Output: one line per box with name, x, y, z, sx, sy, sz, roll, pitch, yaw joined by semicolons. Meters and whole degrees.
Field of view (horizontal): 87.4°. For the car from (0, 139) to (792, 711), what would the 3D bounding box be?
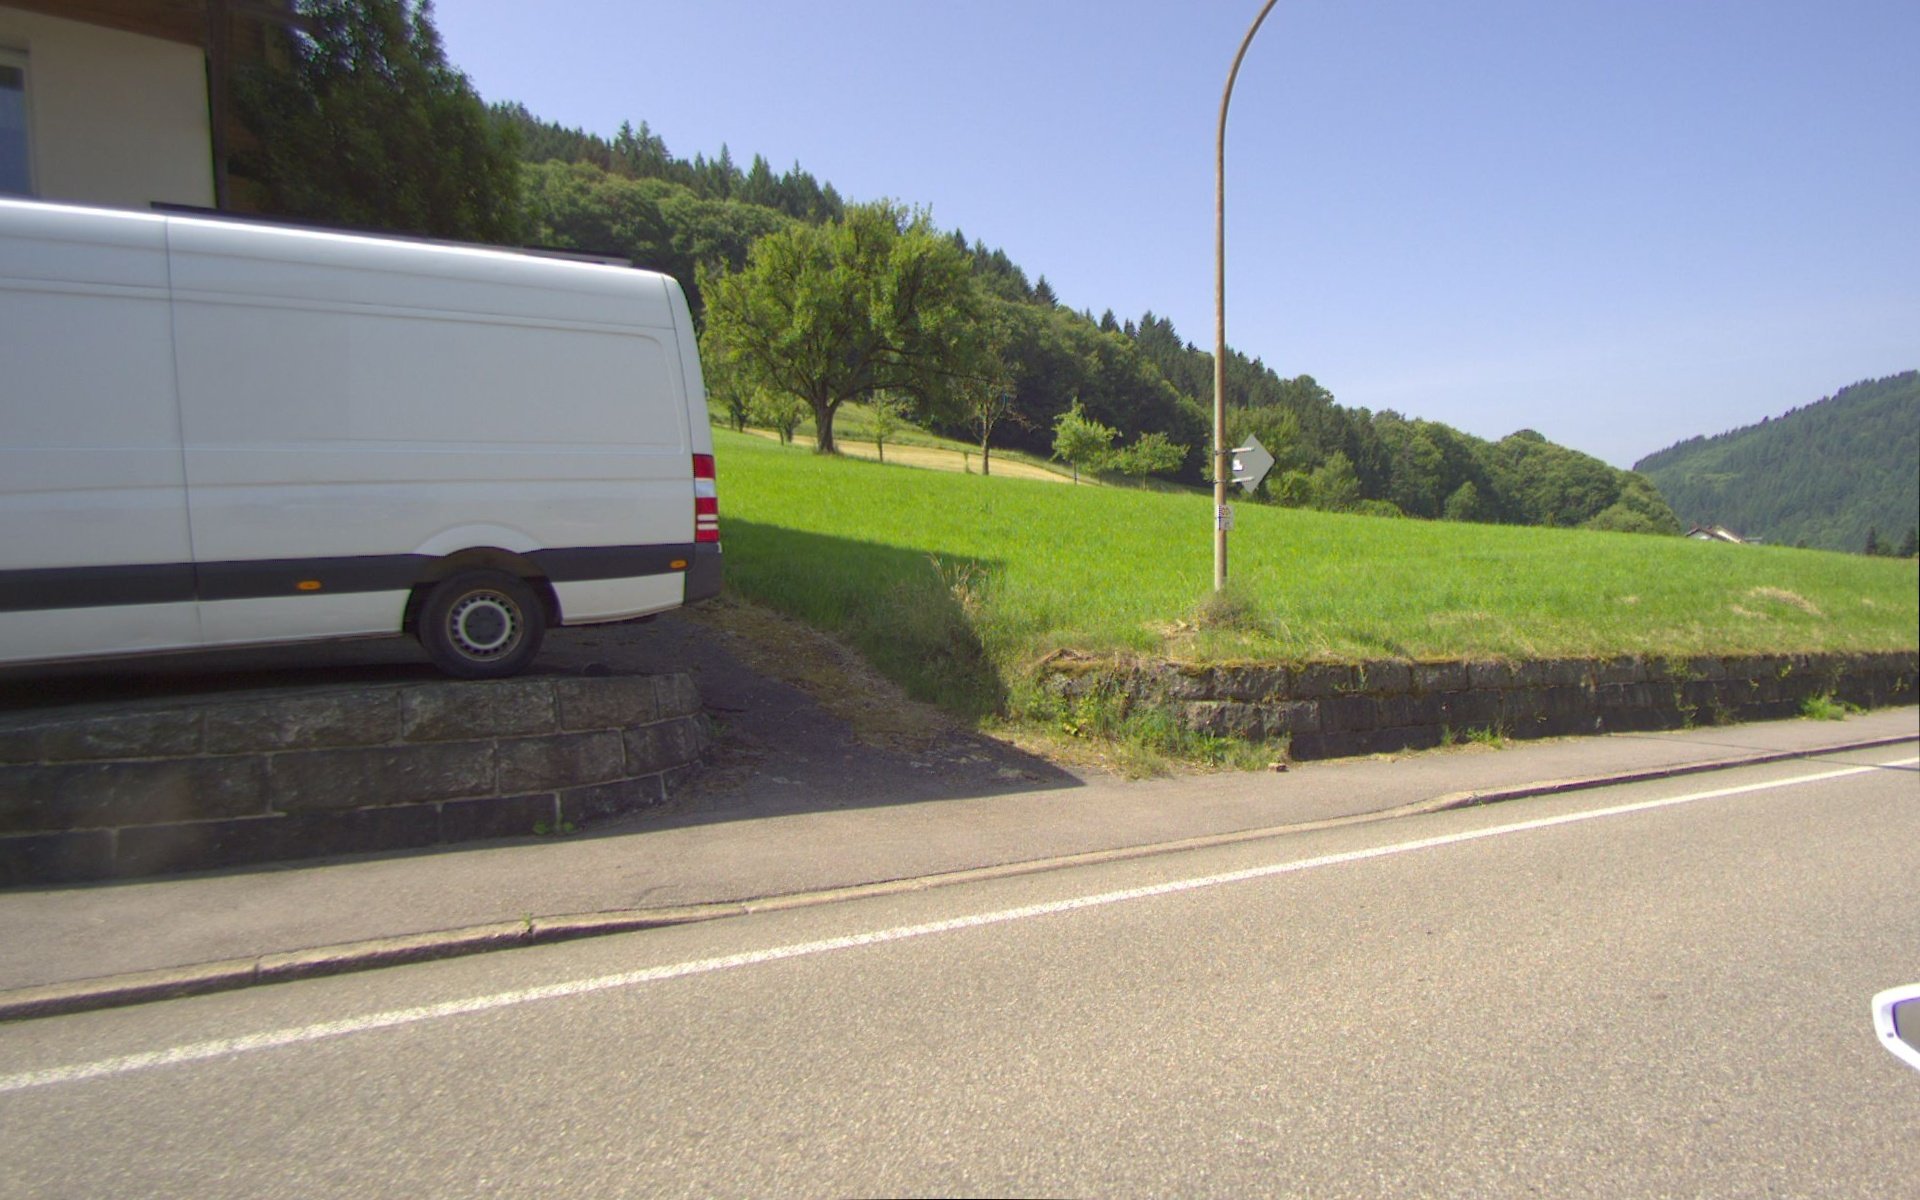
car;-4.725;-0.900;5.948;7.090;2.726;2.056;-3;5;-31
